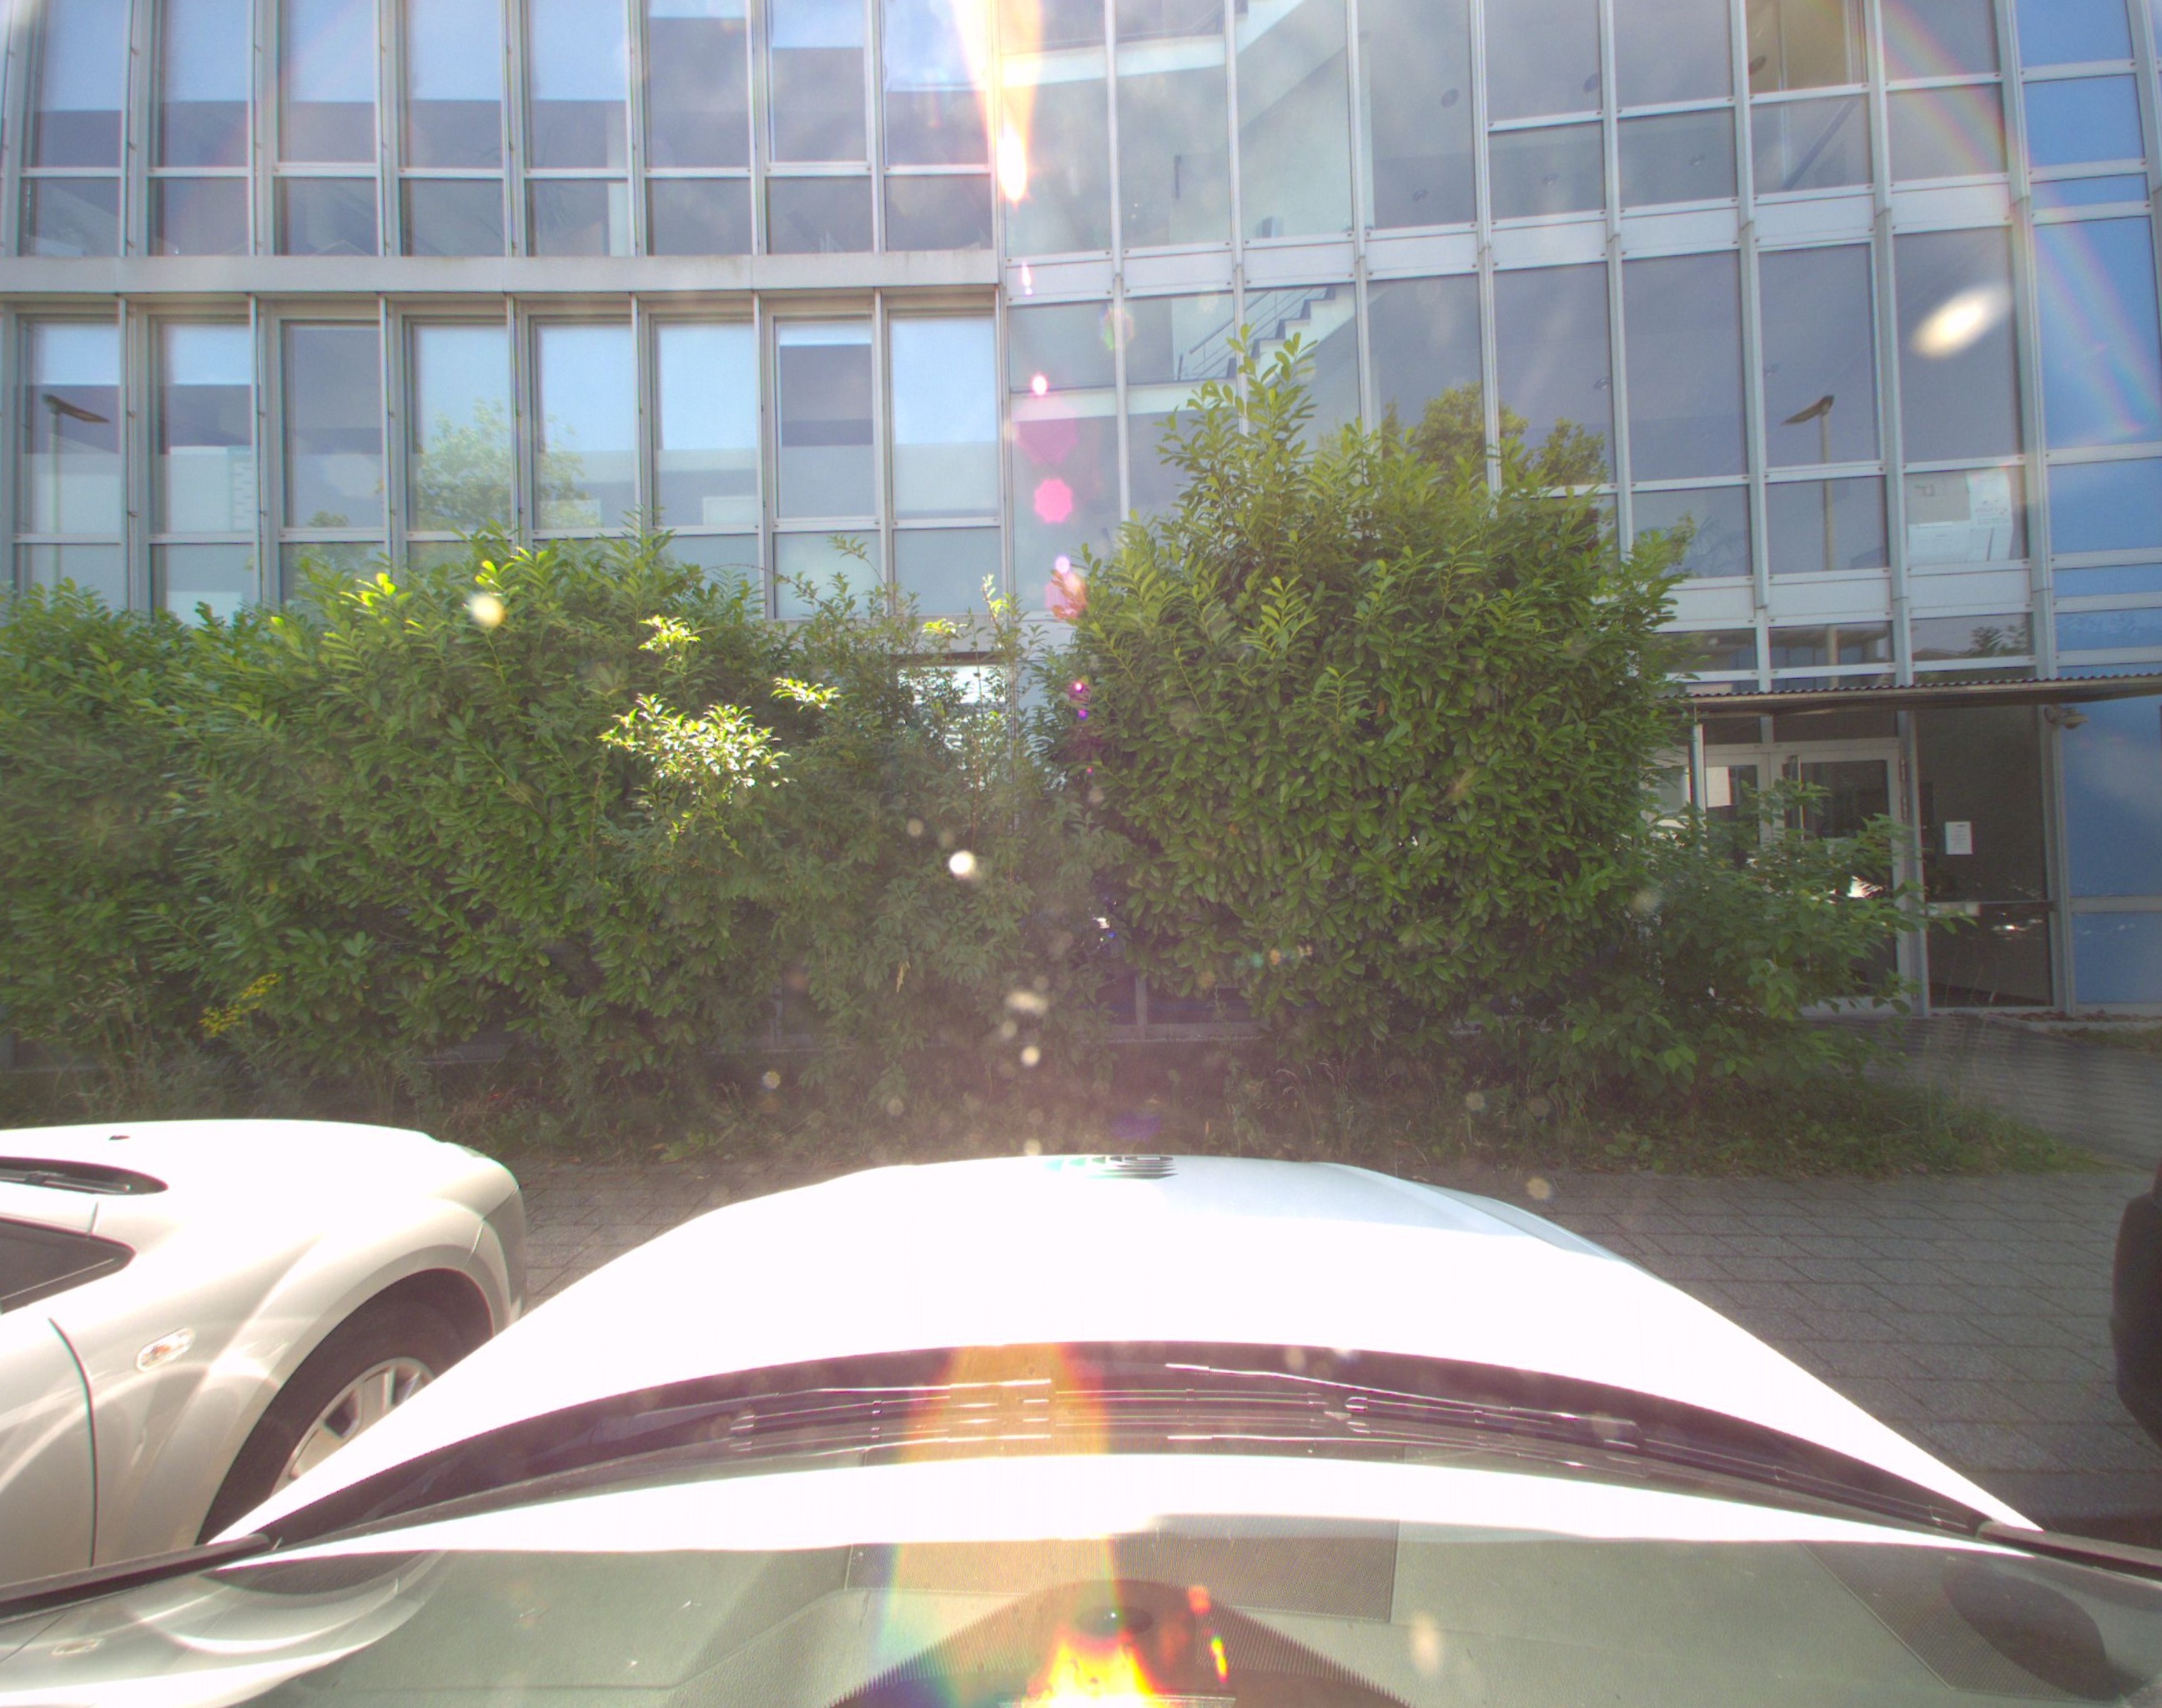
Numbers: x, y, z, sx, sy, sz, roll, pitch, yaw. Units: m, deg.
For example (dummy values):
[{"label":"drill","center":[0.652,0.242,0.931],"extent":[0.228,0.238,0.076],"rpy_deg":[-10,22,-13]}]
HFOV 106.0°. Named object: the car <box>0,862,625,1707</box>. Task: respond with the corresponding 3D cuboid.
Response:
[{"label":"car","center":[-2.200,0.768,0.138],"extent":[1.713,1.479,4.349],"rpy_deg":[-1,0,1]}]
